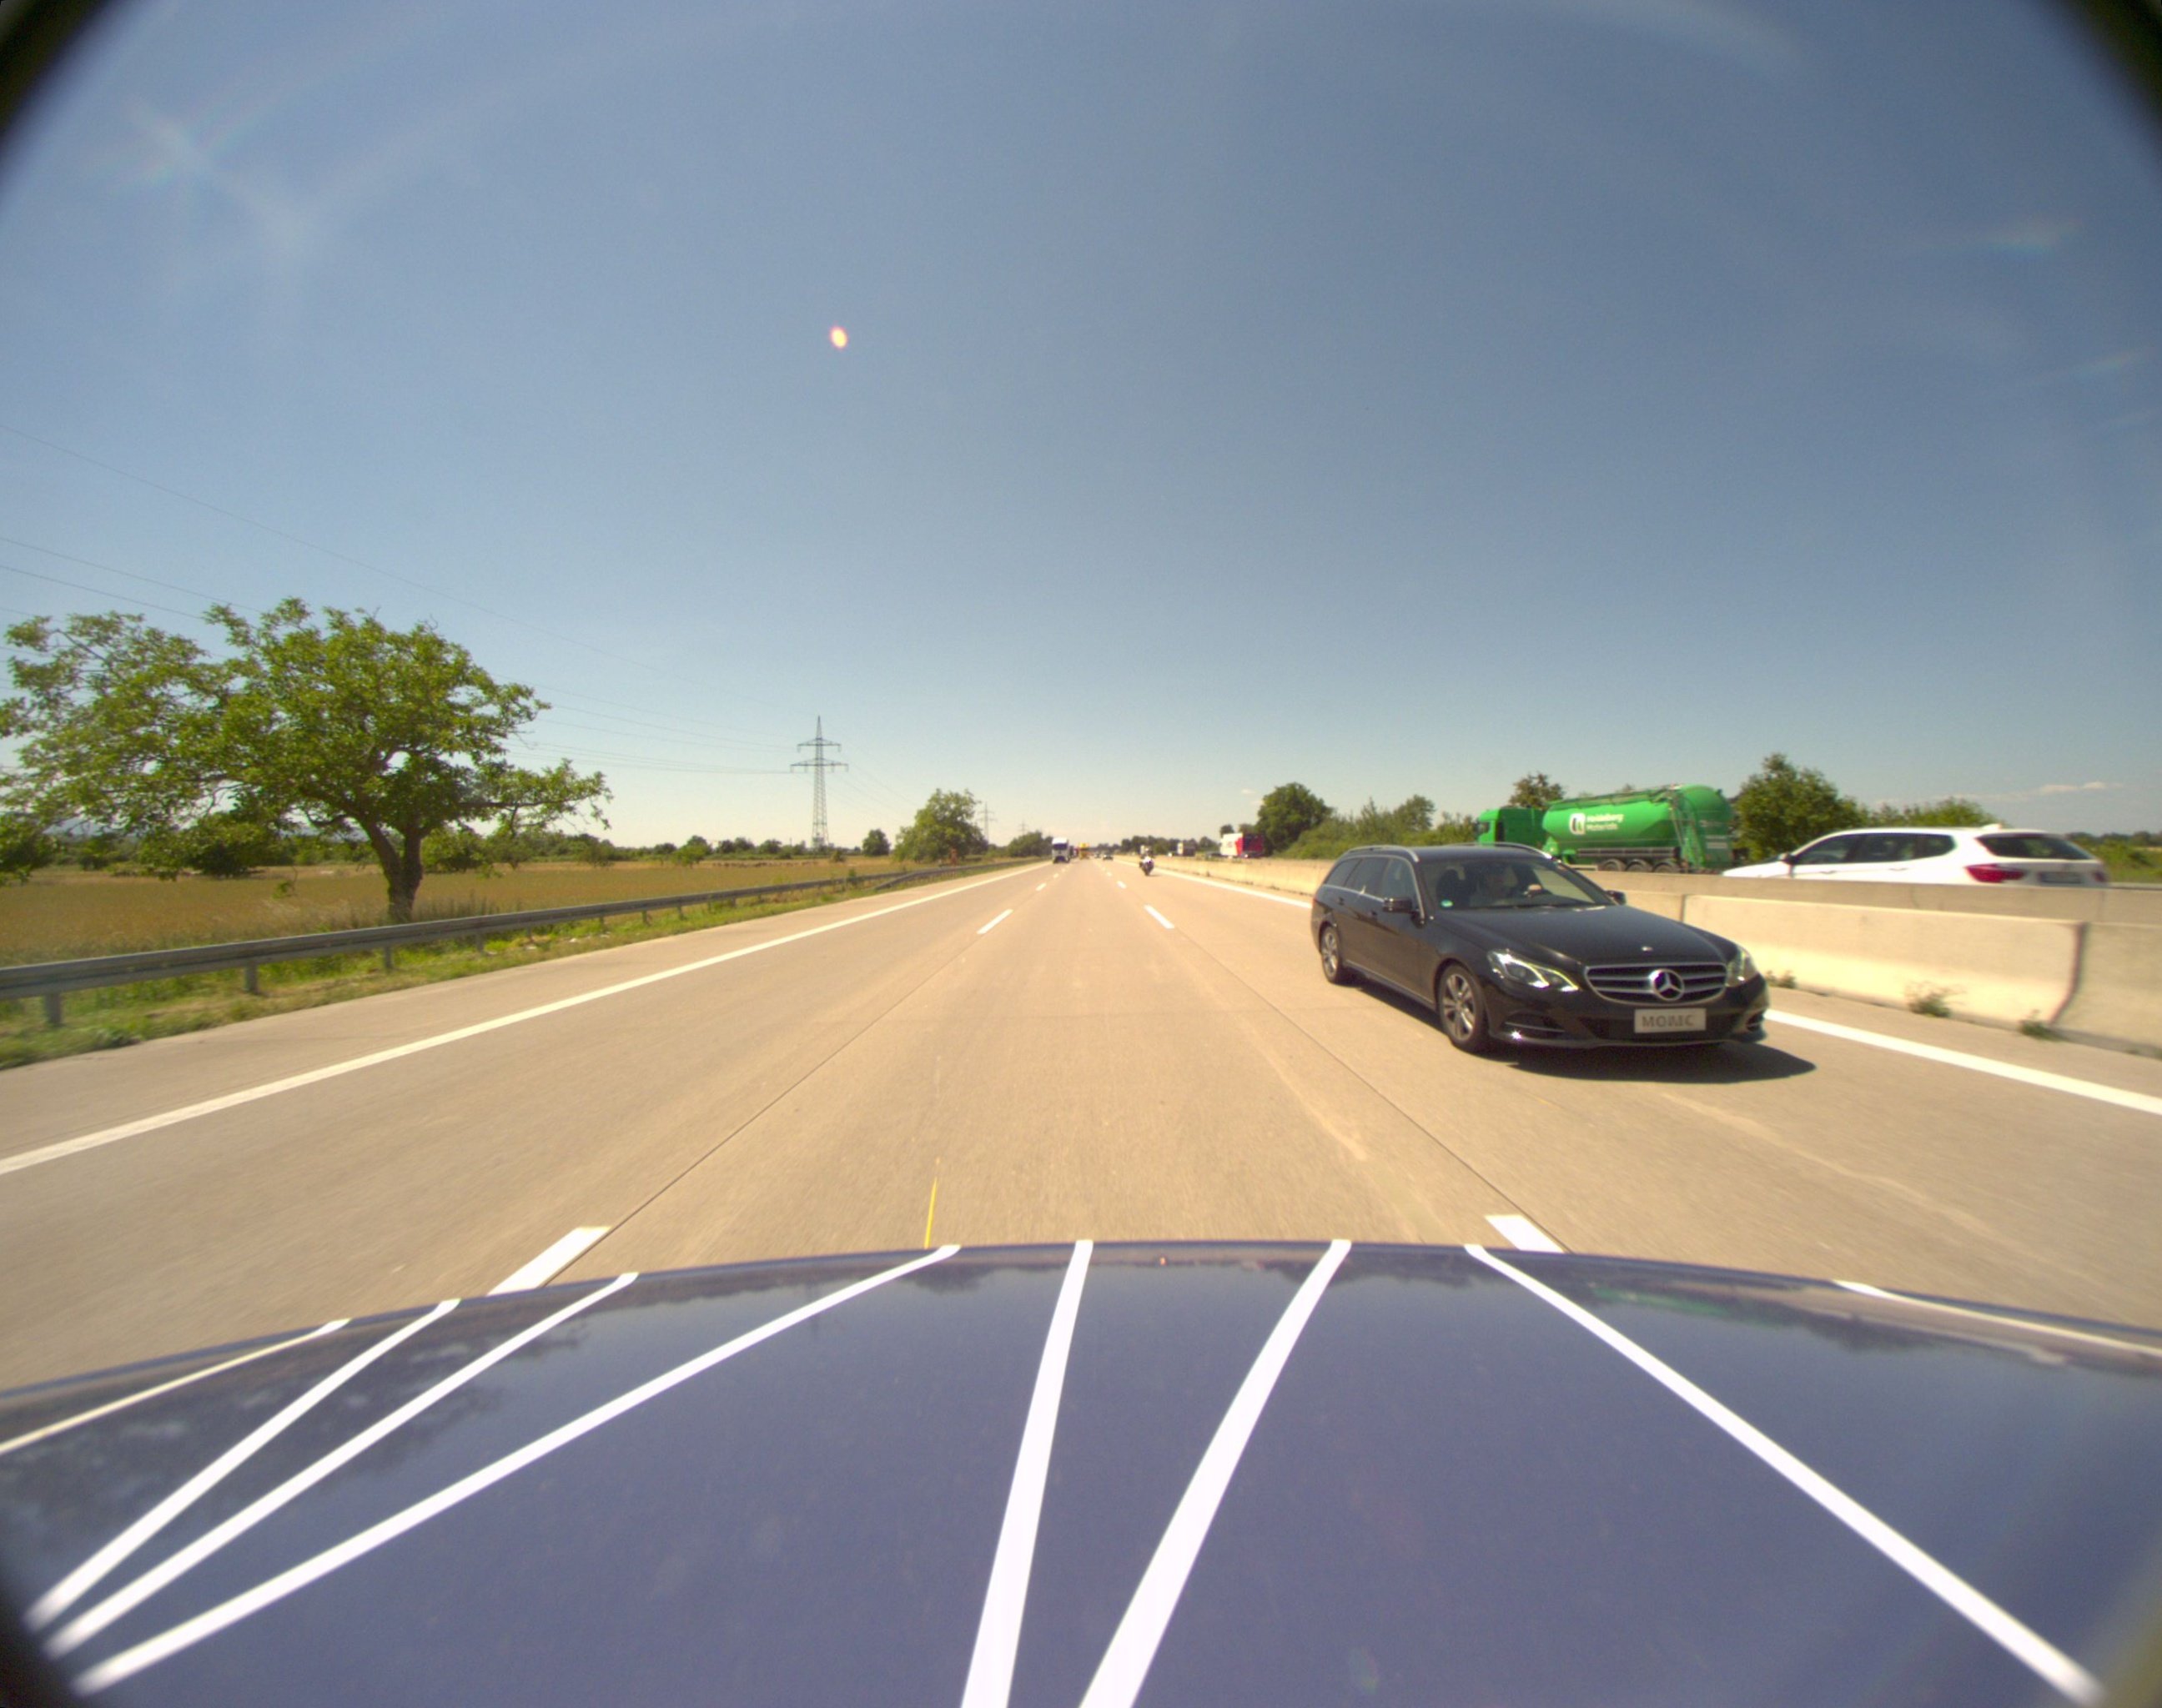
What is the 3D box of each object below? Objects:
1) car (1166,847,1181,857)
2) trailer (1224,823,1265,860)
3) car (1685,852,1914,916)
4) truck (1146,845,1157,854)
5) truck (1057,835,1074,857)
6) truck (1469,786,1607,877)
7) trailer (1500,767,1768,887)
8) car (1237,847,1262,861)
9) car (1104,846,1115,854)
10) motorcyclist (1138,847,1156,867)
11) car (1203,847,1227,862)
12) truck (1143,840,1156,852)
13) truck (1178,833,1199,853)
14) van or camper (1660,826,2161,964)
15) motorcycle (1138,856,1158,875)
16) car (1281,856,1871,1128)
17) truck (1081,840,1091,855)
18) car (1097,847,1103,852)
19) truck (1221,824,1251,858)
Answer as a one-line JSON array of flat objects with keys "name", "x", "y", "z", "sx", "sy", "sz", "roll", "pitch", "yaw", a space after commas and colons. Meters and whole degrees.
[{"name": "car", "x": 13.558, "y": -0.265, "z": 110.977, "sx": 1.745, "sy": 1.392, "sz": 3.807, "roll": -1, "pitch": 0, "yaw": 0}, {"name": "trailer", "x": 21.562, "y": -1.610, "z": 101.081, "sx": 2.809, "sy": 4.511, "sz": 13.233, "roll": -1, "pitch": 0, "yaw": 1}, {"name": "car", "x": 16.718, "y": 0.630, "z": 17.998, "sx": 1.700, "sy": 1.325, "sz": 4.000, "roll": -1, "pitch": 0, "yaw": 1}, {"name": "truck", "x": 14.392, "y": -0.949, "z": 155.801, "sx": 1.867, "sy": 1.750, "sz": 3.950, "roll": -1, "pitch": 1, "yaw": 0}, {"name": "truck", "x": -2.496, "y": -1.328, "z": 124.956, "sx": 2.570, "sy": 3.514, "sz": 10.099, "roll": -1, "pitch": 0, "yaw": 1}, {"name": "truck", "x": 21.145, "y": -0.983, "z": 35.617, "sx": 2.751, "sy": 3.860, "sz": 6.203, "roll": -1, "pitch": 1, "yaw": 1}, {"name": "trailer", "x": 21.076, "y": -0.918, "z": 30.310, "sx": 2.742, "sy": 3.855, "sz": 11.104, "roll": -1, "pitch": 0, "yaw": 1}, {"name": "car", "x": 17.374, "y": -0.039, "z": 78.648, "sx": 1.628, "sy": 1.392, "sz": 4.546, "roll": -1, "pitch": 0, "yaw": 0}, {"name": "car", "x": 5.316, "y": -0.727, "z": 143.769, "sx": 1.998, "sy": 1.518, "sz": 4.000, "roll": -1, "pitch": 0, "yaw": 0}, {"name": "motorcyclist", "x": 4.104, "y": 0.195, "z": 47.049, "sx": 1.027, "sy": 1.202, "sz": 0.911, "roll": -1, "pitch": 1, "yaw": 1}, {"name": "car", "x": 12.953, "y": 0.079, "z": 73.744, "sx": 1.720, "sy": 1.392, "sz": 3.807, "roll": -1, "pitch": 0, "yaw": 0}, {"name": "truck", "x": 23.428, "y": -2.646, "z": 260.854, "sx": 3.569, "sy": 3.977, "sz": 7.519, "roll": -2, "pitch": 1, "yaw": 0}, {"name": "truck", "x": 22.176, "y": -2.234, "z": 156.934, "sx": 3.240, "sy": 4.150, "sz": 8.127, "roll": -1, "pitch": 1, "yaw": 0}, {"name": "van or camper", "x": 12.710, "y": 0.488, "z": 12.320, "sx": 2.247, "sy": 1.683, "sz": 5.849, "roll": -1, "pitch": 0, "yaw": 1}, {"name": "motorcycle", "x": 4.111, "y": 0.700, "z": 46.963, "sx": 1.024, "sy": 1.042, "sz": 2.412, "roll": -3, "pitch": 1, "yaw": 1}, {"name": "car", "x": 3.545, "y": 0.789, "z": 7.101, "sx": 1.895, "sy": 1.465, "sz": 5.603, "roll": -1, "pitch": 0, "yaw": 1}, {"name": "truck", "x": 1.328, "y": -1.701, "z": 197.731, "sx": 2.570, "sy": 3.711, "sz": 10.099, "roll": -1, "pitch": 0, "yaw": 1}, {"name": "car", "x": 5.314, "y": -1.338, "z": 216.501, "sx": 1.586, "sy": 1.527, "sz": 3.611, "roll": -1, "pitch": 0, "yaw": 0}, {"name": "truck", "x": 21.599, "y": -1.746, "z": 106.206, "sx": 2.809, "sy": 4.511, "sz": 6.661, "roll": -1, "pitch": 1, "yaw": 1}]
